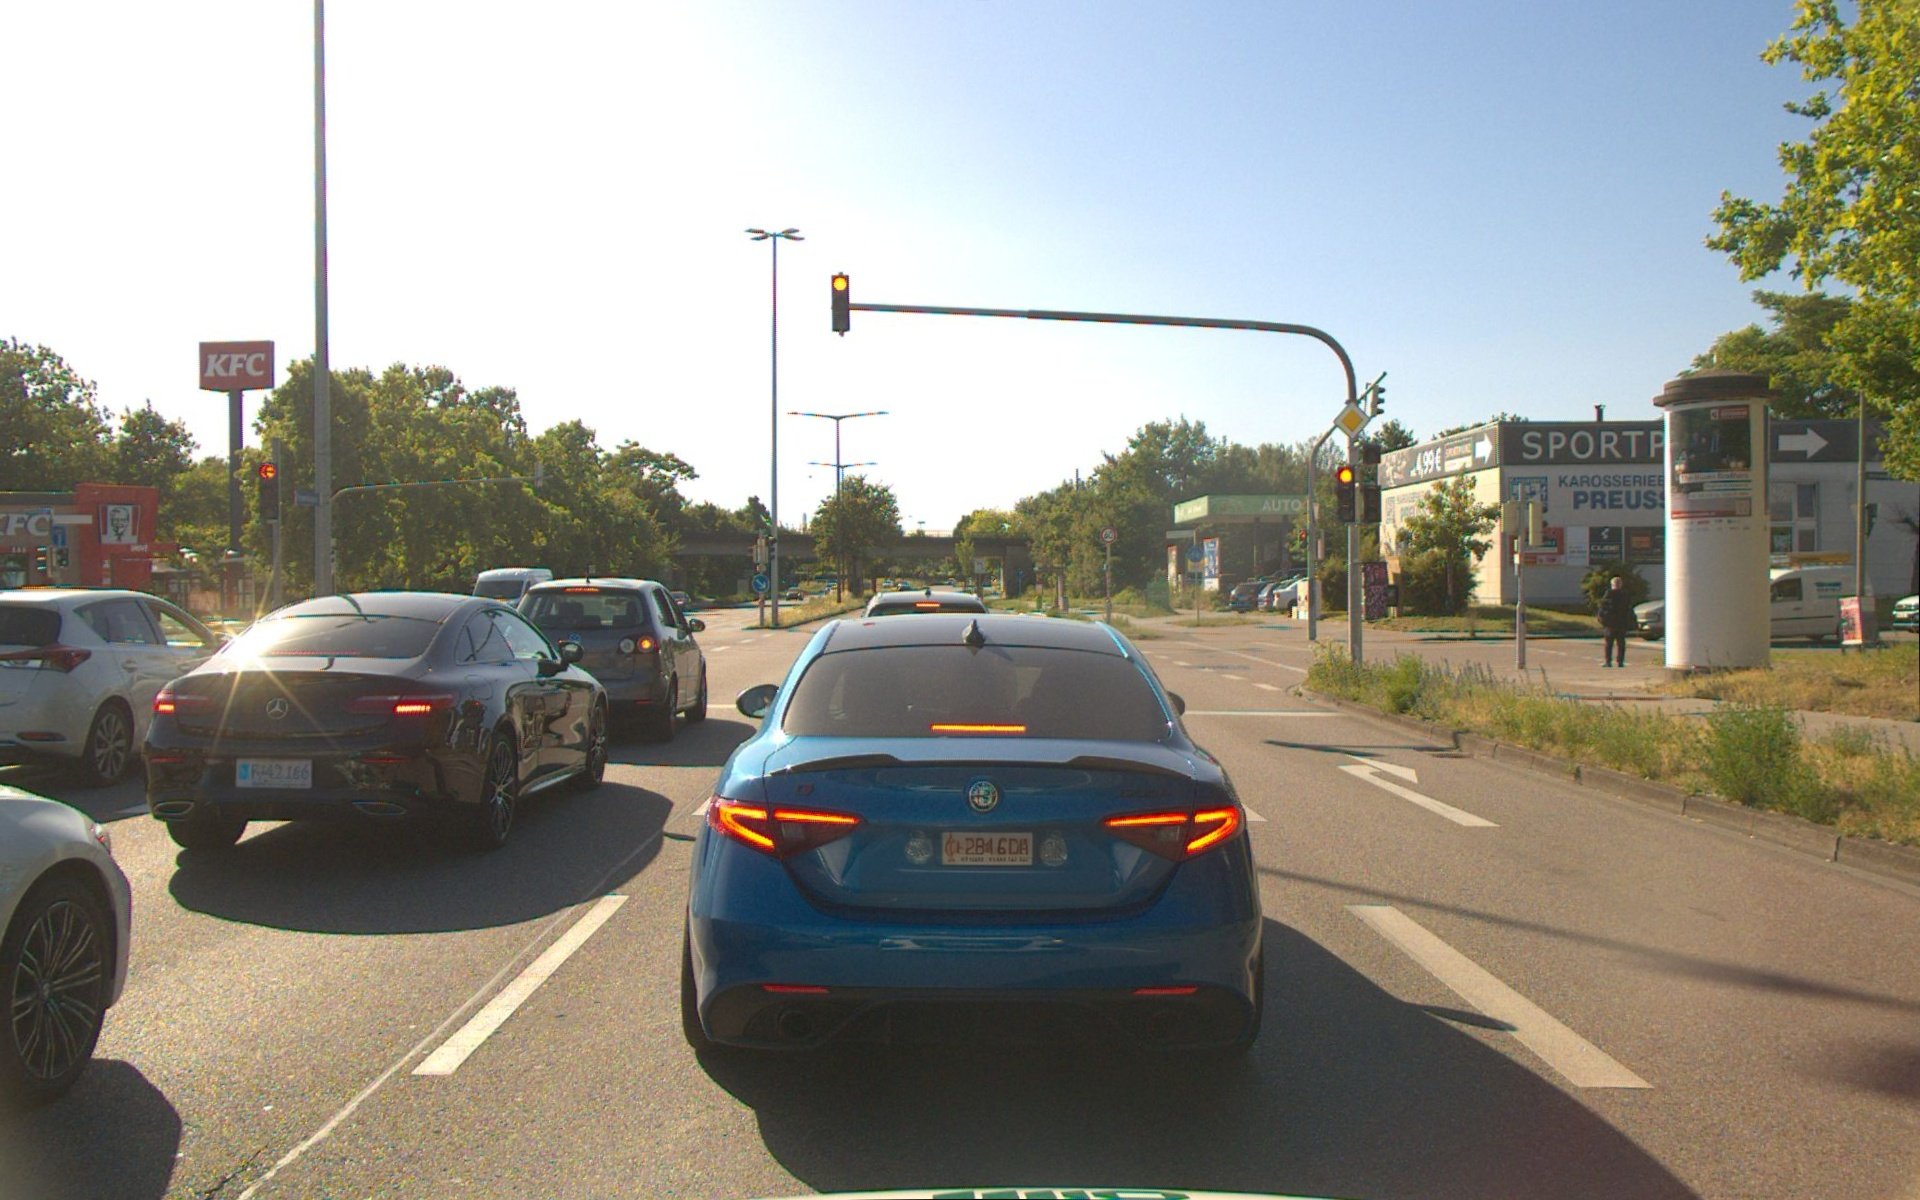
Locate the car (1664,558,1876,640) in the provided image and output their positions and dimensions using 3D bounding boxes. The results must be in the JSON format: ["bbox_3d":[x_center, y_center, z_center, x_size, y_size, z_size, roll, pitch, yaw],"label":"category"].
[{"bbox_3d":[19.539,-0.047,40.009,4.293,1.833,1.764,-1,2,-2],"label":"car"}]

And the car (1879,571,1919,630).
[{"bbox_3d":[26.764,-0.060,43.722,3.960,1.516,1.782,-2,0,-3],"label":"car"}]

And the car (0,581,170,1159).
[{"bbox_3d":[-3.338,0.688,3.035,1.749,1.516,4.401,1,0,-2],"label":"car"}]

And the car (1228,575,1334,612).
[{"bbox_3d":[14.408,-0.293,74.361,4.397,1.479,1.858,-2,0,1],"label":"car"}]

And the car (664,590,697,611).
[{"bbox_3d":[-20.658,0.030,122.317,1.723,1.516,4.477,-2,0,-1],"label":"car"}]

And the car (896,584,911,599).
[{"bbox_3d":[-7.127,-1.019,209.218,1.853,1.847,3.999,1,0,-1],"label":"car"}]

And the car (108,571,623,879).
[{"bbox_3d":[-3.433,0.638,10.539,1.760,1.516,4.474,1,0,-2],"label":"car"}]

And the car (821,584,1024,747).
[{"bbox_3d":[-0.407,0.603,17.209,1.813,1.443,4.401,1,0,-2],"label":"car"}]

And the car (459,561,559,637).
[{"bbox_3d":[-16.275,-0.041,60.012,1.981,2.489,5.820,-3,0,-1],"label":"car"}]

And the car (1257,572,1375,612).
[{"bbox_3d":[14.492,-0.324,67.559,4.397,1.479,1.858,-2,0,1],"label":"car"}]

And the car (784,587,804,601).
[{"bbox_3d":[-18.985,-0.722,189.276,1.723,1.516,4.477,-2,0,-1],"label":"car"}]

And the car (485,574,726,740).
[{"bbox_3d":[-3.618,0.542,17.637,1.723,1.516,4.401,1,0,-2],"label":"car"}]

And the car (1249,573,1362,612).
[{"bbox_3d":[14.636,-0.301,70.315,4.397,1.479,1.858,-2,0,1],"label":"car"}]

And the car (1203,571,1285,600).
[{"bbox_3d":[16.731,-0.854,97.569,4.457,1.516,1.765,-2,0,1],"label":"car"}]

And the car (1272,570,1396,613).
[{"bbox_3d":[14.616,-0.325,64.782,4.397,1.479,1.858,-2,0,1],"label":"car"}]

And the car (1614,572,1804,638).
[{"bbox_3d":[19.603,0.109,43.363,4.201,1.576,1.764,-1,2,-2],"label":"car"}]

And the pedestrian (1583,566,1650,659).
[{"bbox_3d":[12.718,0.238,32.048,0.906,1.765,0.938,1,-1,-1],"label":"pedestrian"}]

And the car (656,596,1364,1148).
[{"bbox_3d":[0.074,0.734,6.581,1.857,1.443,4.401,1,0,-2],"label":"car"}]

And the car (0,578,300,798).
[{"bbox_3d":[-7.072,0.610,13.557,1.723,1.516,4.195,1,0,-2],"label":"car"}]
